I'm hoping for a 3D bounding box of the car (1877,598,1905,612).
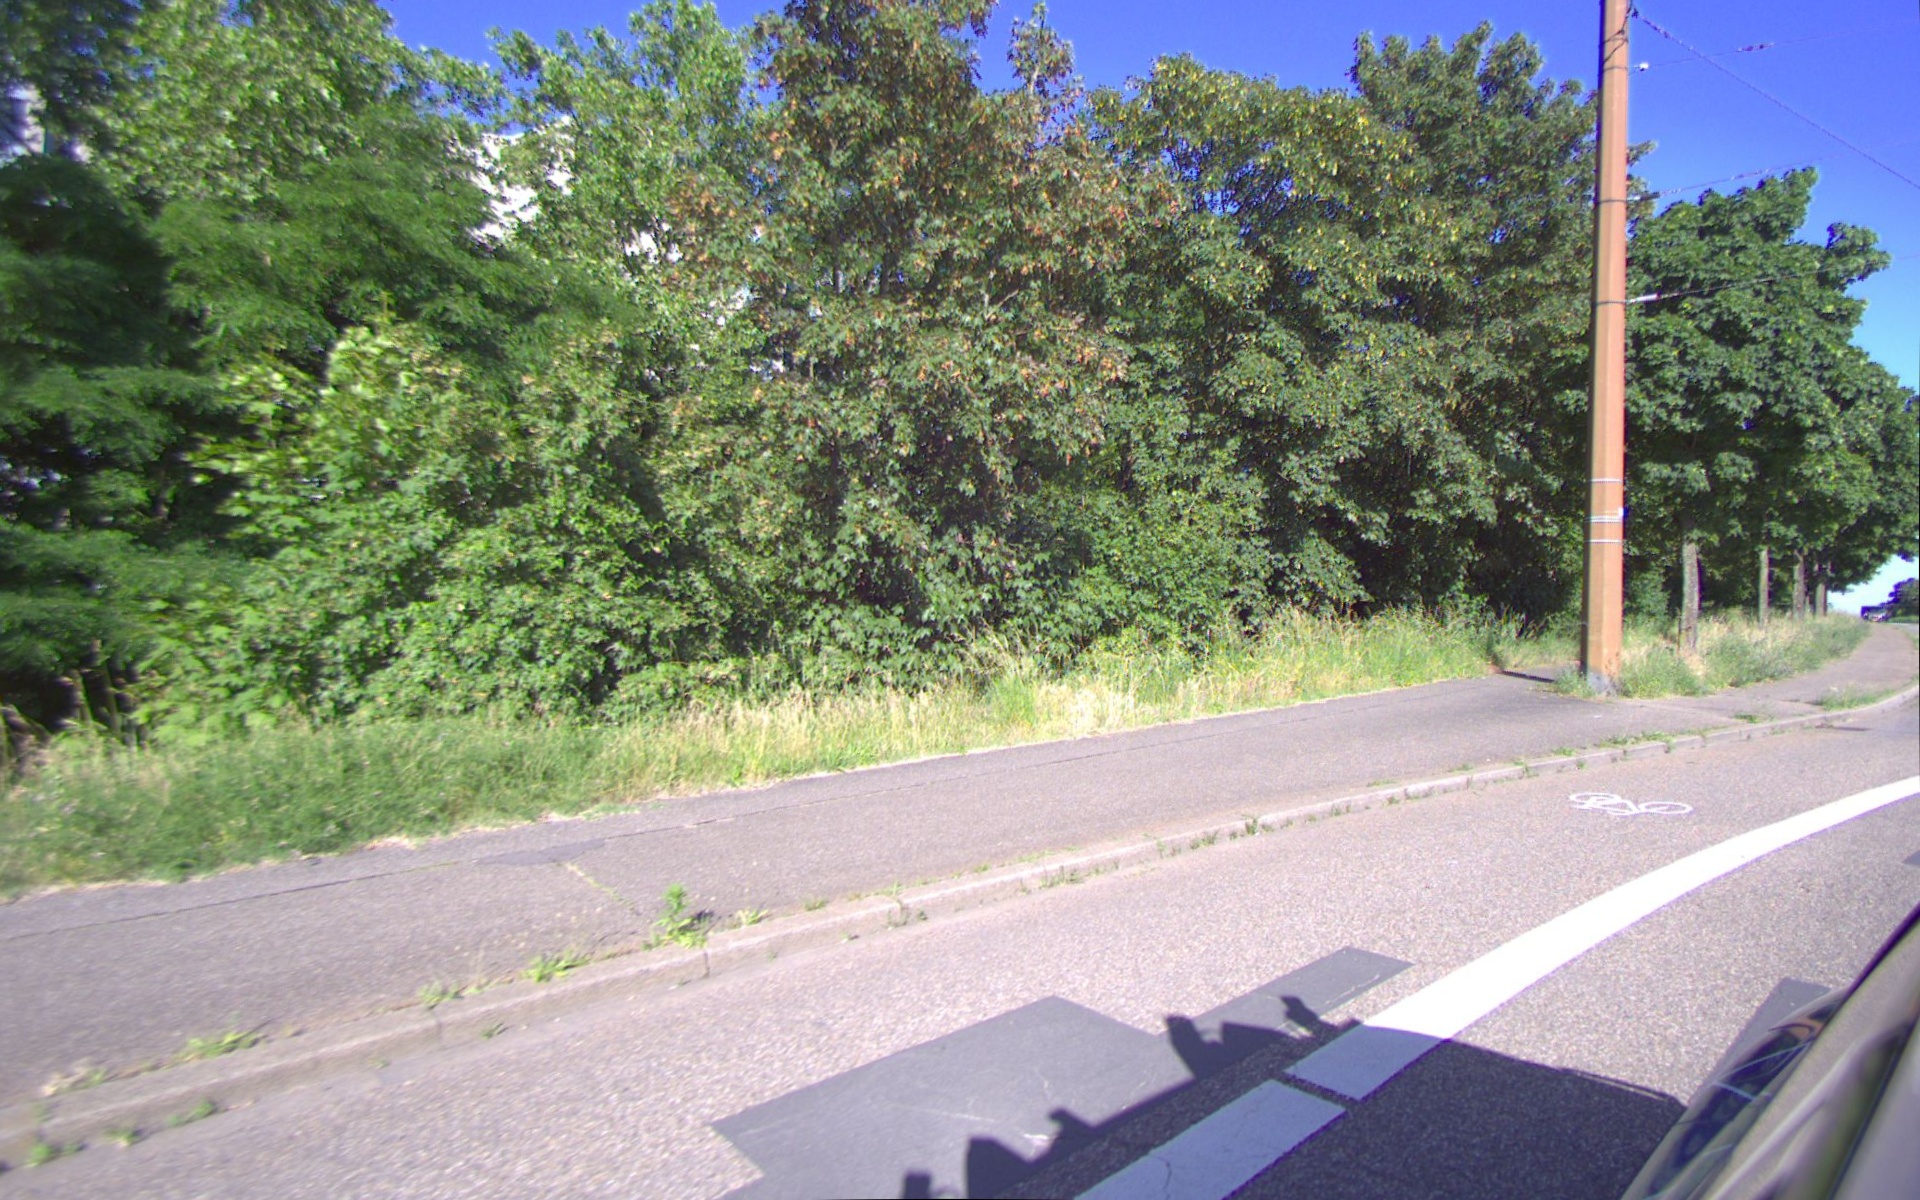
[{"bbox_3d":[113.560,0.574,123.490,1.987,1.606,3.949,-1,0,35],"label":"car"}]
